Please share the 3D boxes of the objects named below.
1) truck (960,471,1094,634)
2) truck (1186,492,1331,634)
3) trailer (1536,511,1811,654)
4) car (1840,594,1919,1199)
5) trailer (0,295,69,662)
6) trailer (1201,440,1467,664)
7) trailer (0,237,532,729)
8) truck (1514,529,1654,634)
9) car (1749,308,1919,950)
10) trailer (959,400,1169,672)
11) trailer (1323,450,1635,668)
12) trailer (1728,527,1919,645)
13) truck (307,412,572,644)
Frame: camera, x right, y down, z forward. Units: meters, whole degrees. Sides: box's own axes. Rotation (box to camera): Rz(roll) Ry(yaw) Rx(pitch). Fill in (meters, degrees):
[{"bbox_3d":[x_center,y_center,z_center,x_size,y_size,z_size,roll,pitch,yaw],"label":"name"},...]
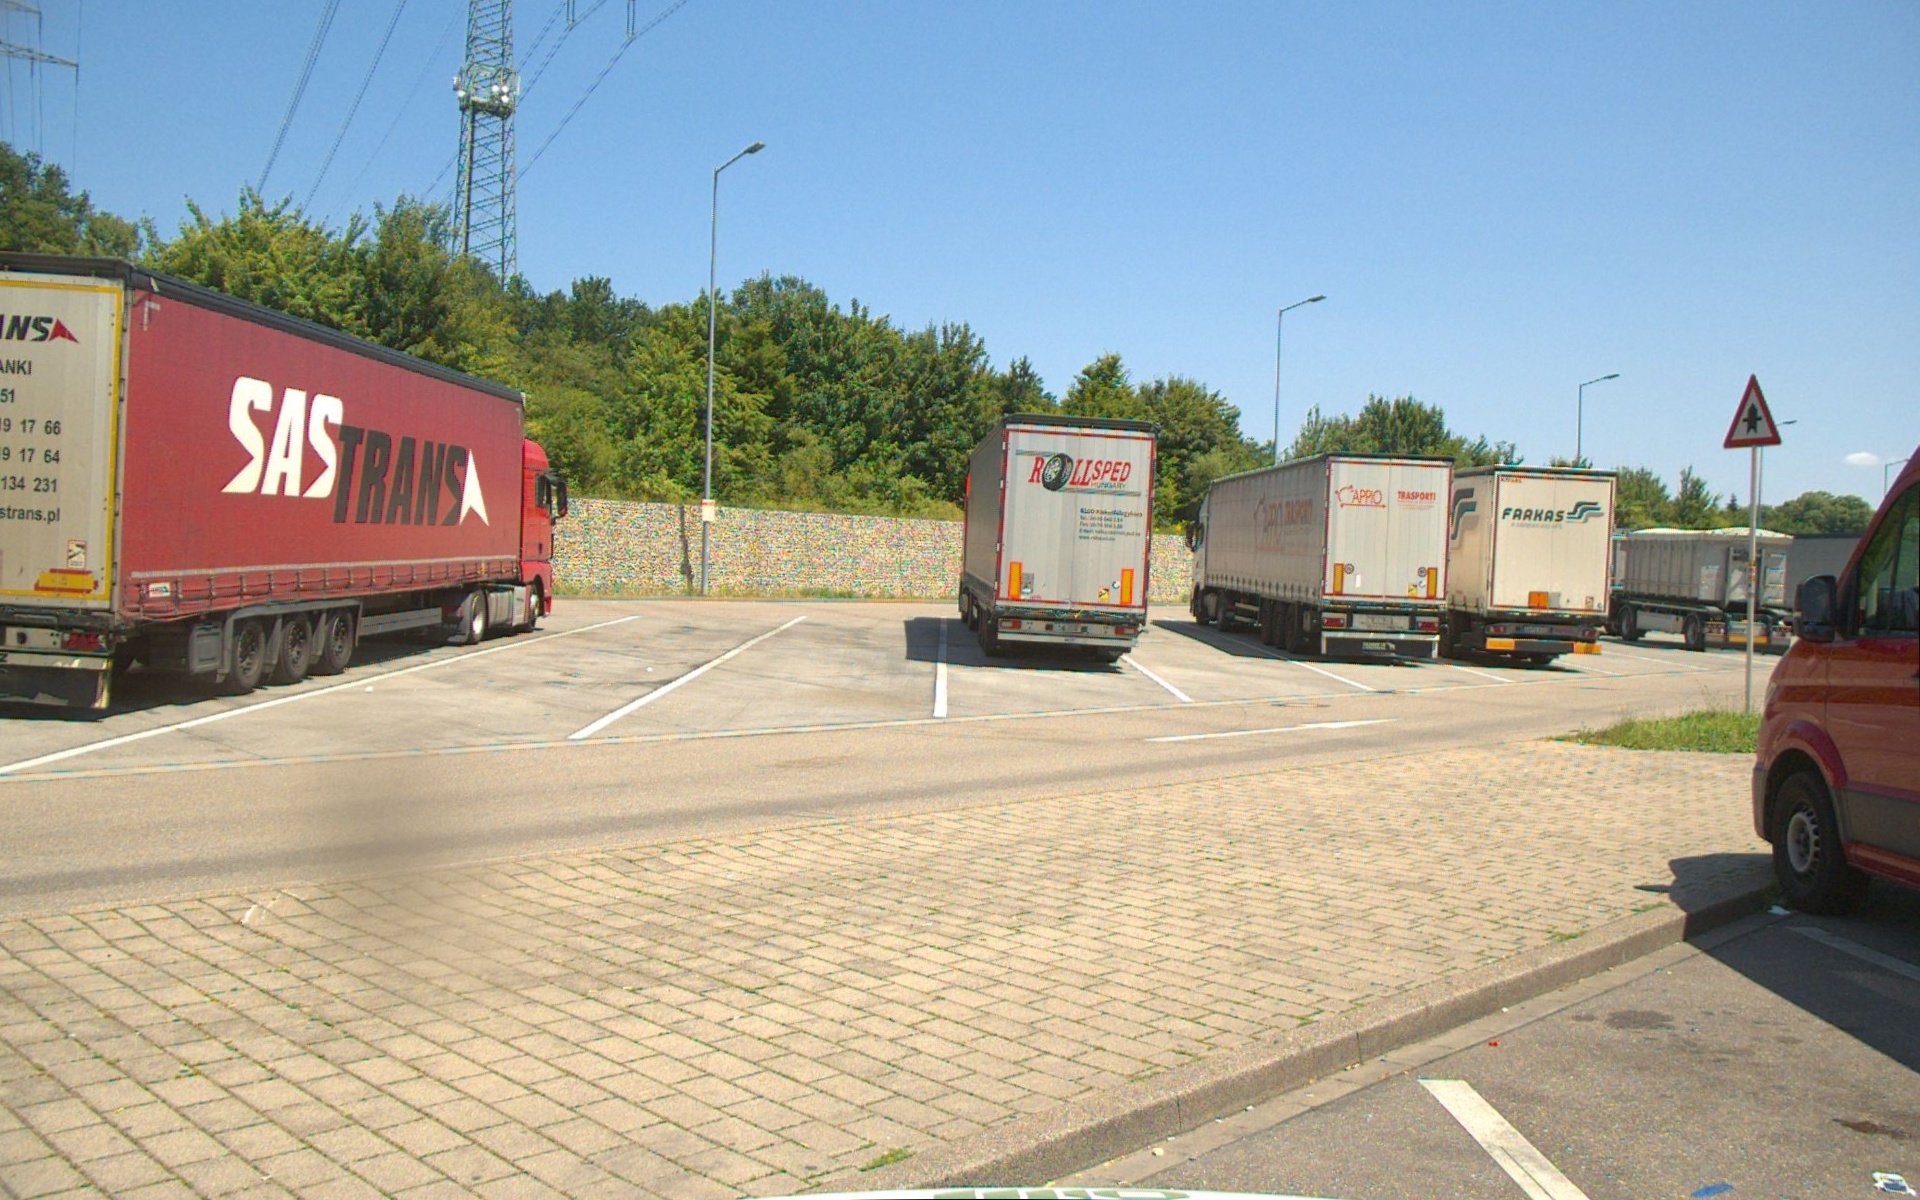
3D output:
[{"bbox_3d":[1.494,-1.144,39.828,2.794,3.544,5.482,2,2,-1],"label":"truck"},{"bbox_3d":[8.110,-1.039,45.617,2.794,3.544,5.482,2,2,-1],"label":"truck"},{"bbox_3d":[21.942,-0.688,52.185,2.780,3.781,13.726,2,2,1],"label":"trailer"},{"bbox_3d":[2.607,0.793,1.135,1.703,1.508,3.813,1,1,-6],"label":"car"},{"bbox_3d":[-12.515,-1.309,15.685,2.673,4.282,10.170,2,2,-1],"label":"trailer"},{"bbox_3d":[8.223,-1.140,38.807,2.781,4.204,13.722,2,2,-1],"label":"trailer"},{"bbox_3d":[-8.669,-1.297,21.168,2.848,4.203,13.723,2,2,-1],"label":"trailer"},{"bbox_3d":[22.023,-0.718,58.689,2.794,3.423,5.484,2,2,0],"label":"truck"},{"bbox_3d":[5.019,0.159,5.539,2.023,2.742,6.397,1,1,4],"label":"car"},{"bbox_3d":[1.661,-1.232,33.219,2.848,4.204,13.720,2,2,-1],"label":"trailer"},{"bbox_3d":[11.783,-1.020,39.611,2.781,4.204,13.722,2,2,-1],"label":"trailer"},{"bbox_3d":[34.956,-0.649,65.387,2.780,4.119,13.726,2,2,1],"label":"trailer"},{"bbox_3d":[-8.782,-1.206,28.603,2.794,3.487,5.482,2,2,-1],"label":"truck"}]
